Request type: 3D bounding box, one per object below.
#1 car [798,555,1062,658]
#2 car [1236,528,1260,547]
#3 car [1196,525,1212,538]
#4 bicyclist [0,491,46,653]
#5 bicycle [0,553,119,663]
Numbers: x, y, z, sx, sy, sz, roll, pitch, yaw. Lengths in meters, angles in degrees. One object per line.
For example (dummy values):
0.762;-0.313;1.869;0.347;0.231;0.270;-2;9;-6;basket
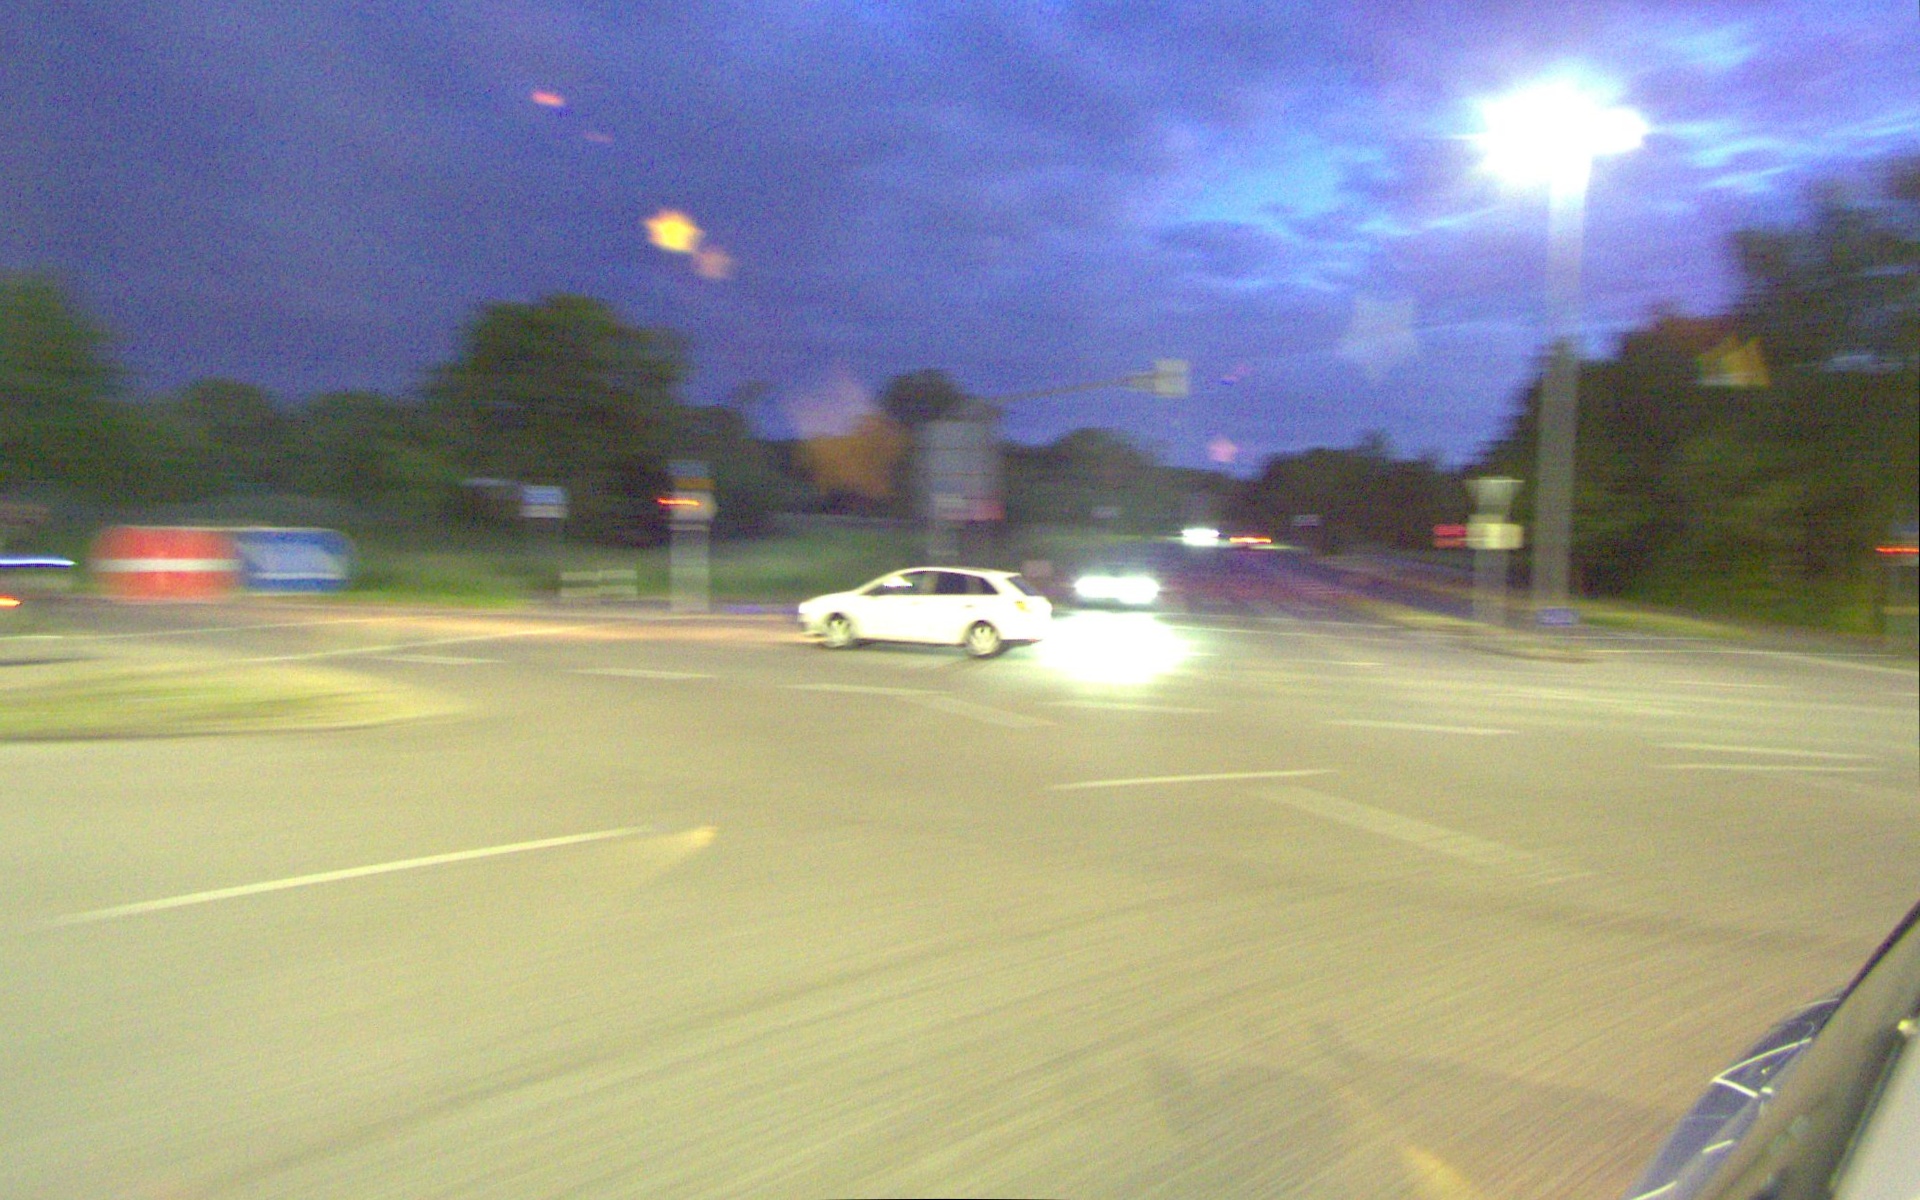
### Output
-0.459;0.047;16.714;4.057;1.461;1.618;2;2;14;car
28.345;-6.176;99.644;1.712;1.590;4.055;2;7;9;car
35.441;-9.903;146.967;1.680;1.616;3.893;2;1;23;car
-10.228;-0.297;10.473;0.594;1.671;0.998;2;2;9;bicyclist
-10.136;0.072;10.632;0.684;1.115;2.063;2;2;9;bicycle
